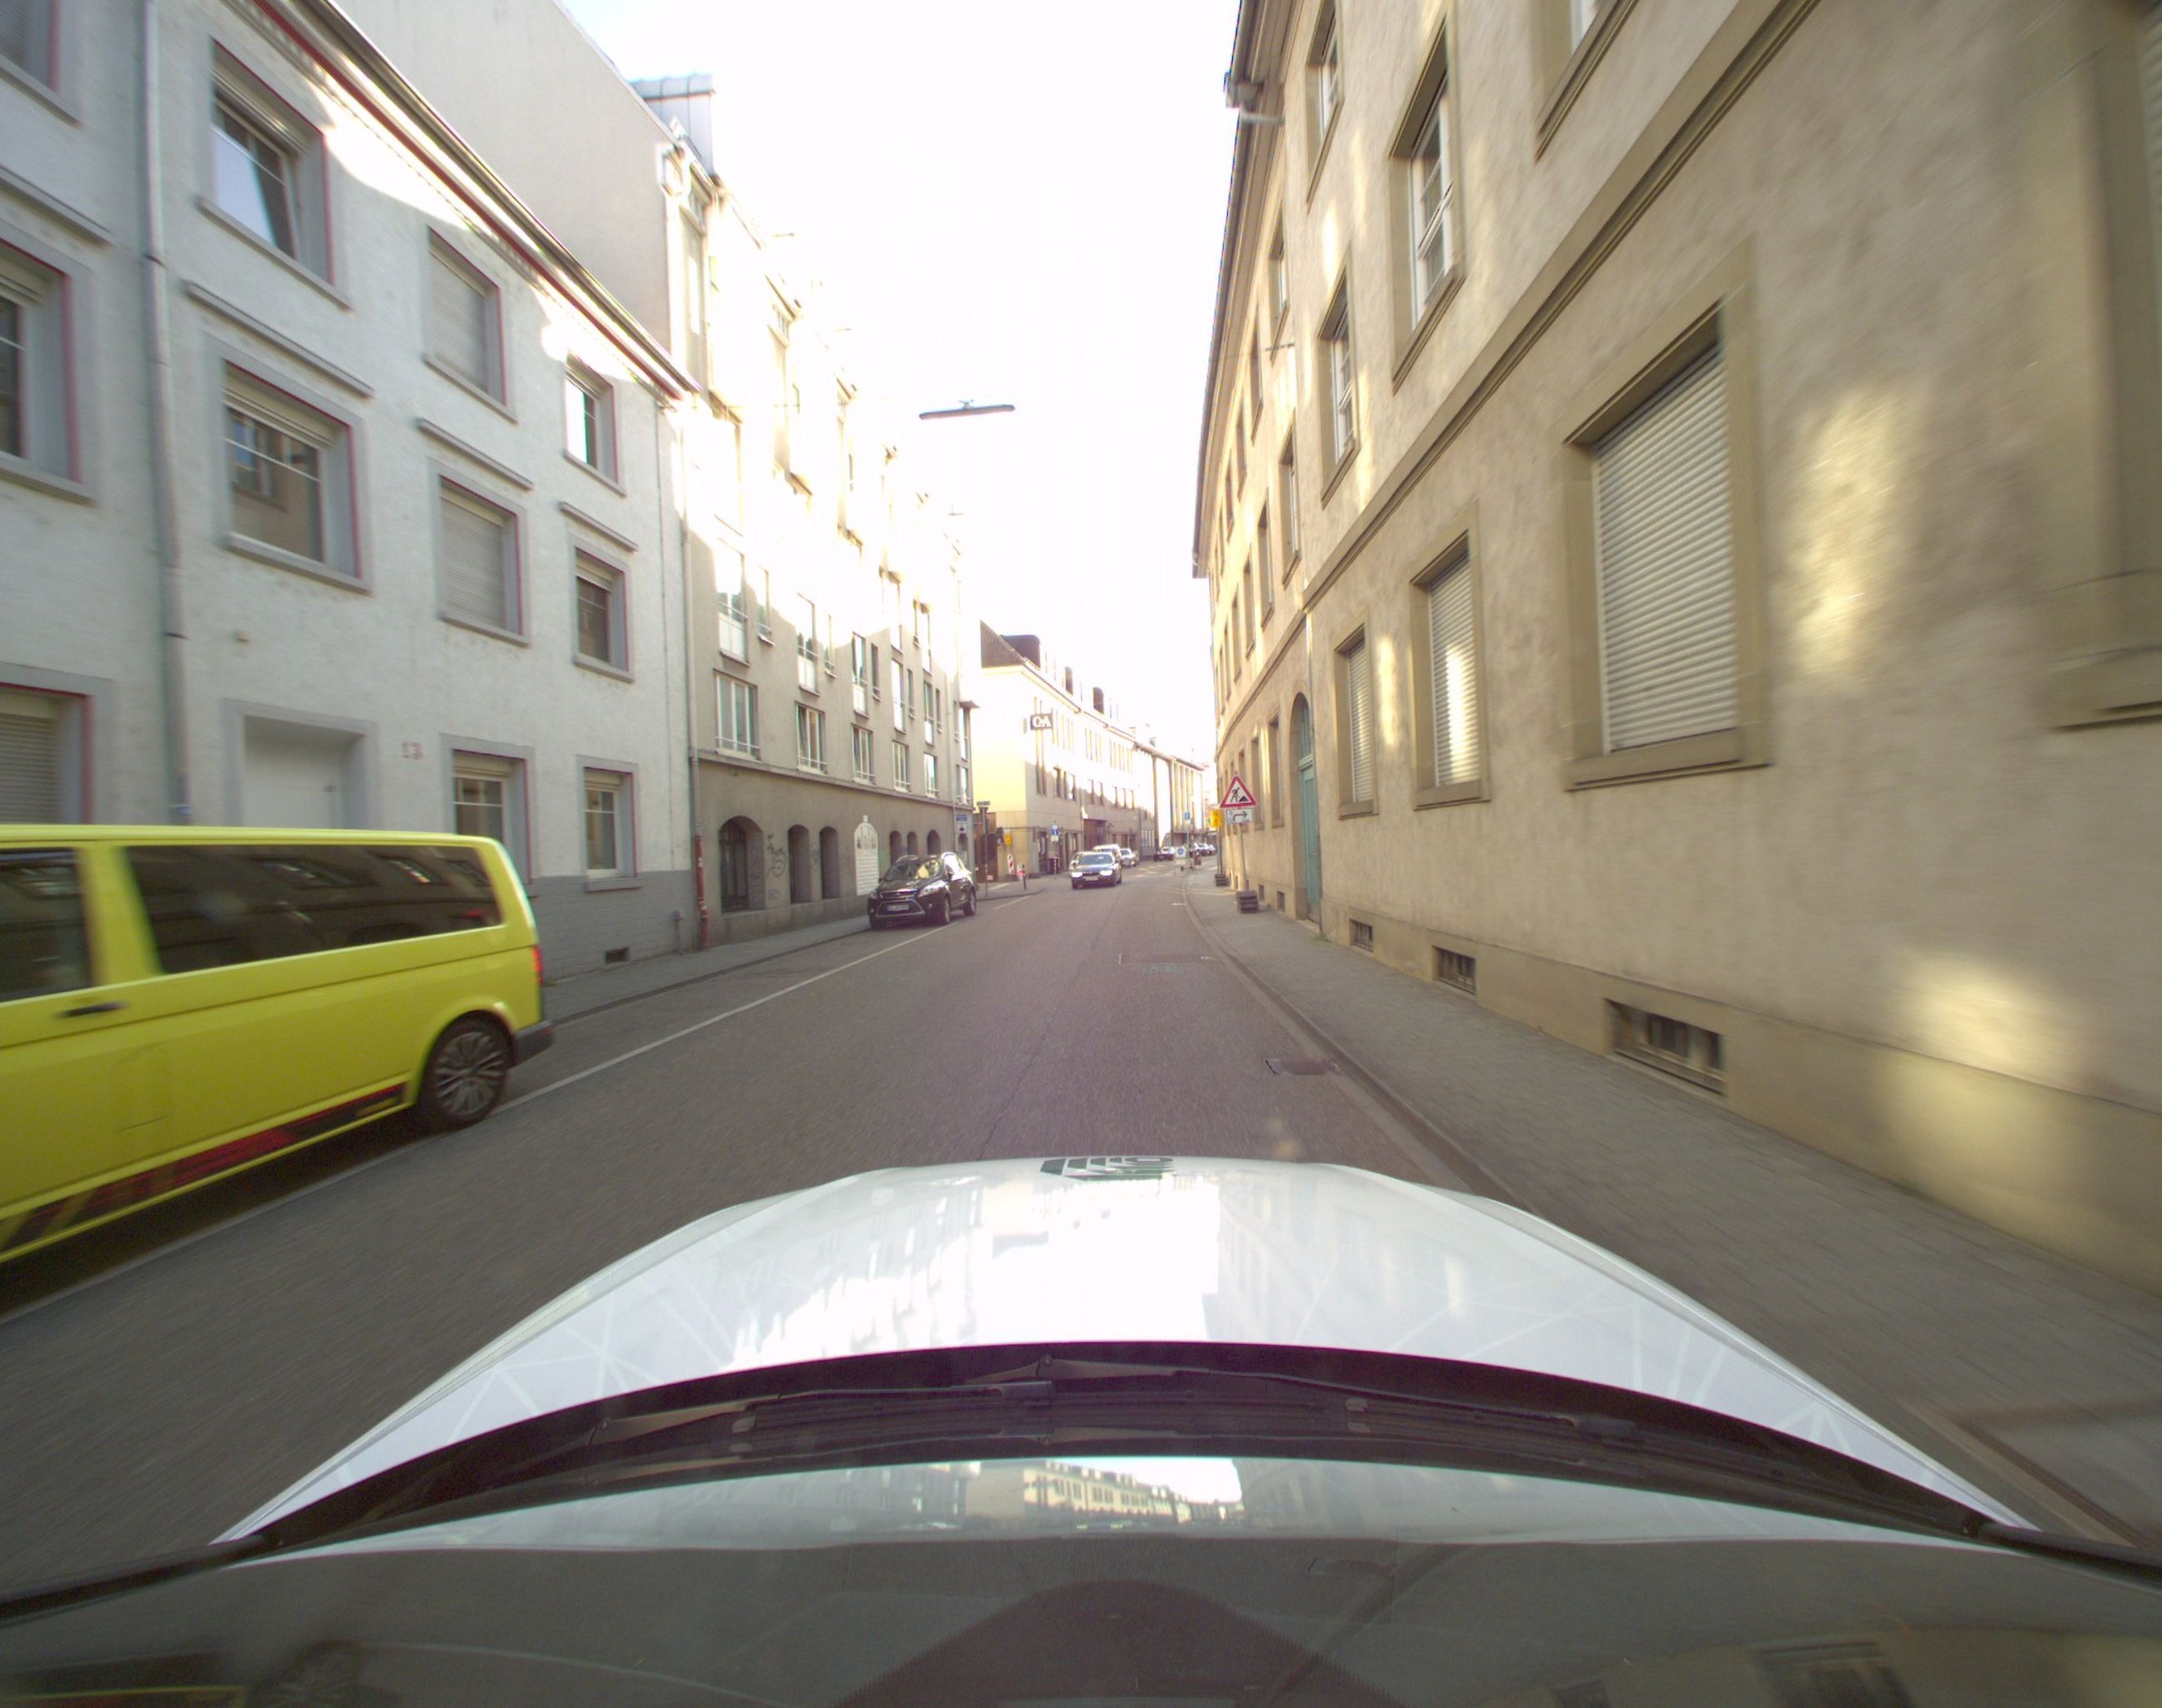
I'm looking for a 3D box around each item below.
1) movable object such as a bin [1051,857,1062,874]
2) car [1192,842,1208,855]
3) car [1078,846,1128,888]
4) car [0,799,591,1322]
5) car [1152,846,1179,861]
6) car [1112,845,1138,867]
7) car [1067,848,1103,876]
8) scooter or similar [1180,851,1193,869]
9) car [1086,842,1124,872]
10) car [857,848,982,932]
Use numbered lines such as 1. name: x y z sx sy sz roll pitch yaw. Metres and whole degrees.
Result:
1. movable object such as a bin: -1.575 0.734 52.090 0.606 1.060 0.714 0 0 4
2. car: 14.840 -0.743 101.503 1.328 1.494 3.526 -3 0 17
3. car: 0.863 0.517 34.486 1.711 1.578 4.186 -3 0 -3
4. car: -4.809 0.803 3.754 1.873 1.866 4.866 -5 0 2
5. car: 8.552 -0.034 82.406 1.866 1.332 4.119 -3 0 17
6. car: 3.415 0.129 62.510 1.262 1.506 3.414 -4 0 14
7. car: 0.306 0.462 50.713 1.661 1.506 3.802 -4 0 8
8. scooter or similar: 6.658 0.372 51.318 0.766 1.136 0.270 0 0 9
9. car: 1.699 0.167 56.468 1.659 1.818 4.568 -4 0 13
10. car: -3.860 0.786 20.209 1.731 1.711 4.197 -5 0 6
